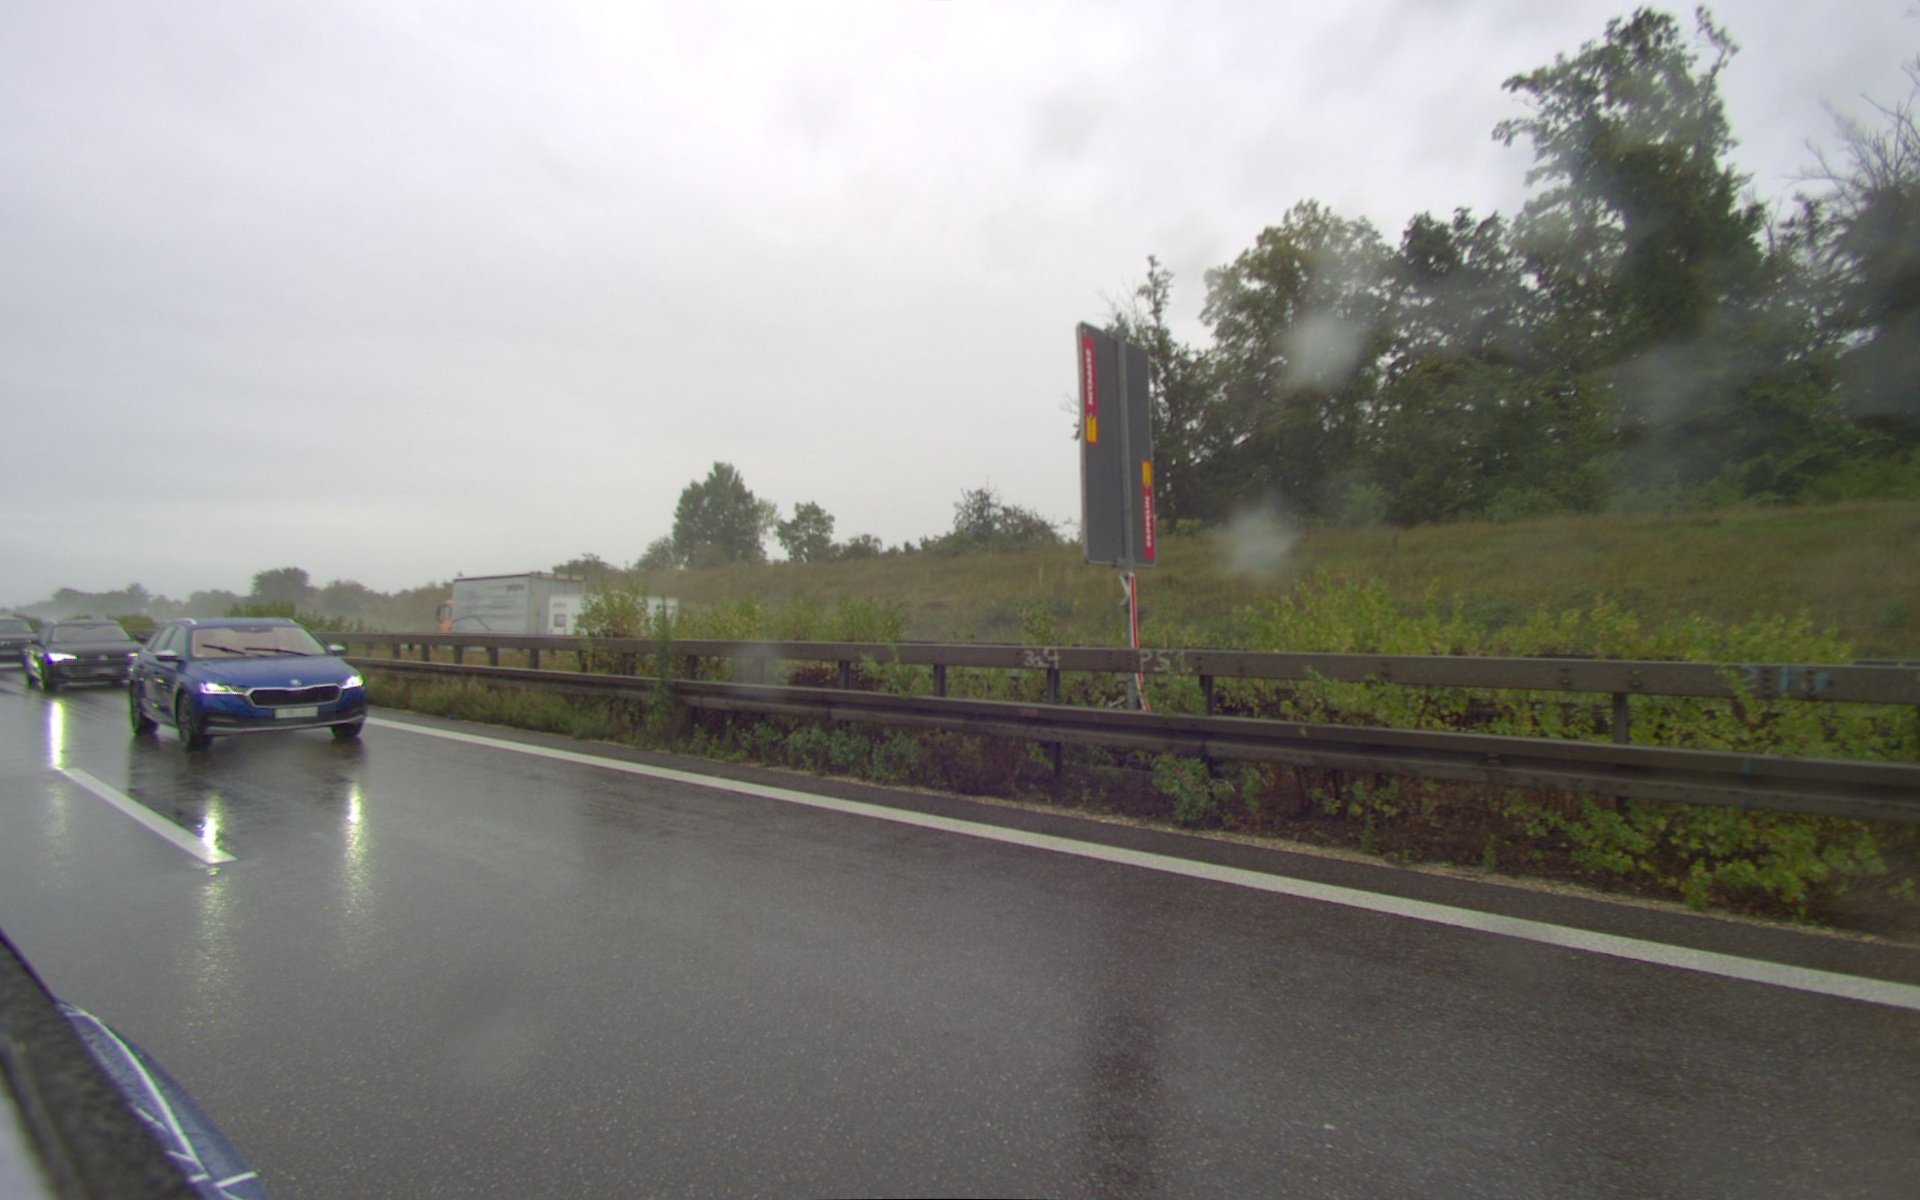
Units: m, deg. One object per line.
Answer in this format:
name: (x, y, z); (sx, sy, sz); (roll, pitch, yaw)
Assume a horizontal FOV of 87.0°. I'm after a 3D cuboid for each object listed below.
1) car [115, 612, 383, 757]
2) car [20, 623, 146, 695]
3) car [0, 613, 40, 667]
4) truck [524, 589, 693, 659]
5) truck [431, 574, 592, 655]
car: (-9.012, 0.937, 12.670); (4.510, 1.487, 1.767); (-2, -1, 42)
car: (-19.782, 1.268, 22.756); (4.369, 1.447, 1.592); (-2, -1, 42)
car: (-30.972, 1.280, 32.351); (4.267, 1.644, 1.864); (-2, -1, 41)
truck: (-13.904, 0.907, 39.684); (7.887, 2.499, 2.624); (-1, 0, 40)
truck: (-20.324, 0.736, 45.549); (9.248, 3.306, 2.896); (-2, -1, 40)
